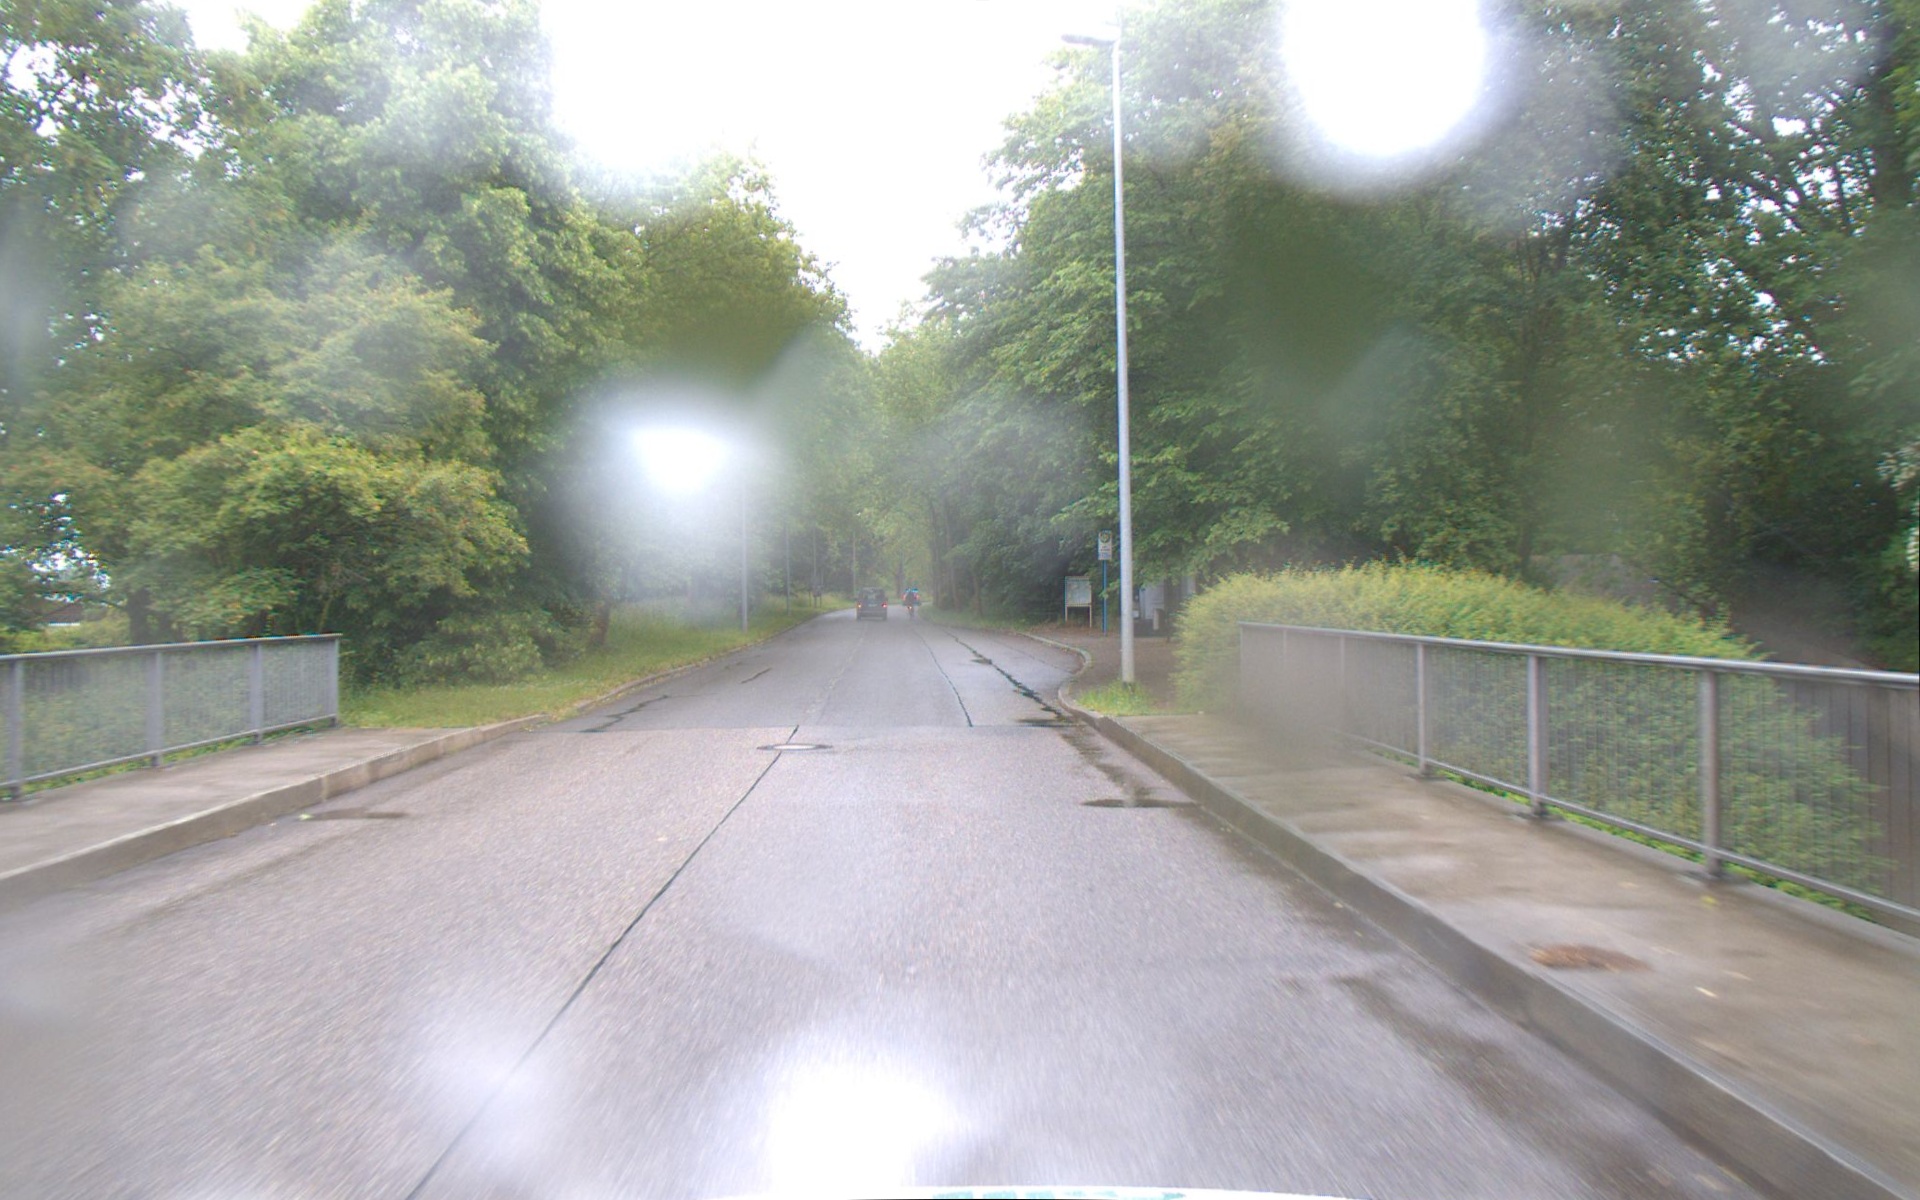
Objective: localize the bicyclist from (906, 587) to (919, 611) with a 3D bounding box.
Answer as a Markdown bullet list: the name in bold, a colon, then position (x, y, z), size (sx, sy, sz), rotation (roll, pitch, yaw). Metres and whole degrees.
- **bicyclist**: position (-2.791, -0.050, 97.469), size (0.715, 1.435, 0.973), rotation (1, 0, 0)

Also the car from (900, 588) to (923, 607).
- **car**: position (-4.688, -0.230, 160.374), size (1.955, 1.847, 3.995), rotation (1, 0, -6)

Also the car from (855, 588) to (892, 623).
- **car**: position (-4.991, 0.286, 94.973), size (1.947, 1.959, 3.995), rotation (0, 0, -6)

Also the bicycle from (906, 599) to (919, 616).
- **bicycle**: position (-2.798, 0.455, 97.546), size (0.715, 0.991, 2.173), rotation (1, 0, 0)
